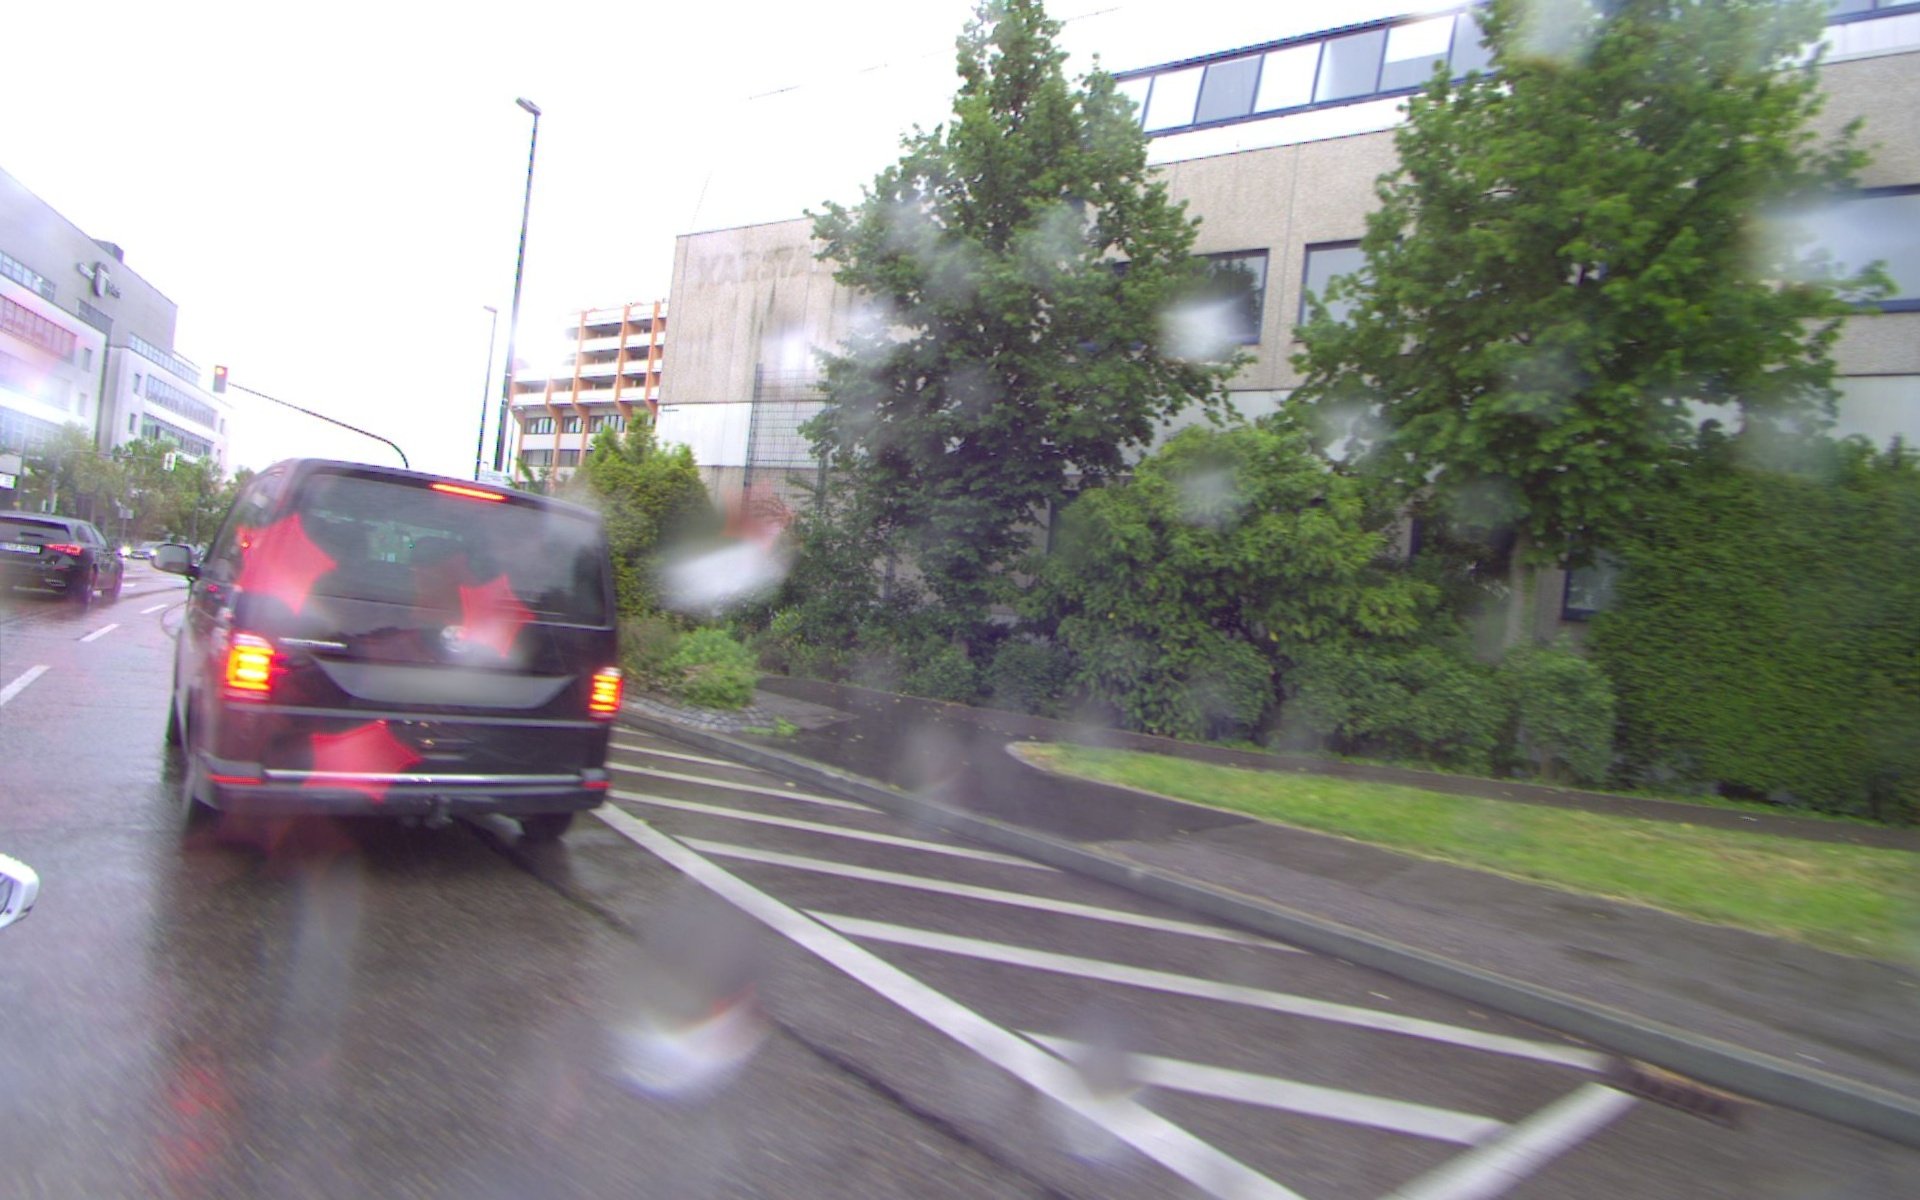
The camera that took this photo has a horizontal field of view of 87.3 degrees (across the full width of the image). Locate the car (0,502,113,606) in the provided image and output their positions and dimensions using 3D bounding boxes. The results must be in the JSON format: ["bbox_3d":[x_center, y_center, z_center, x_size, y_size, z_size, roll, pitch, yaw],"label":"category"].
[{"bbox_3d":[-16.503,-0.844,17.991,1.807,1.547,3.773,8,-3,-38],"label":"car"}]

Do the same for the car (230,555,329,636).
[{"bbox_3d":[-15.935,-0.156,23.677,1.624,1.465,4.231,9,-1,-33],"label":"car"}]

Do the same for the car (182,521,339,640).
[{"bbox_3d":[-12.183,-0.361,17.690,1.890,1.639,4.298,8,-2,-33],"label":"car"}]

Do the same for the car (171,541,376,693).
[{"bbox_3d":[-8.390,0.105,12.243,1.623,1.402,4.471,8,-2,-36],"label":"car"}]

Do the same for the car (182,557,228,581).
[{"bbox_3d":[-58.176,-2.343,77.564,1.754,1.614,4.565,2,0,-23],"label":"car"}]

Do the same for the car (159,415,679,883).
[{"bbox_3d":[-3.783,0.220,6.499,1.987,1.916,4.539,8,-3,-39],"label":"car"}]

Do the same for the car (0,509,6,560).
[{"bbox_3d":[-11.023,-0.359,9.819,1.862,1.479,3.836,8,-2,-36],"label":"car"}]
